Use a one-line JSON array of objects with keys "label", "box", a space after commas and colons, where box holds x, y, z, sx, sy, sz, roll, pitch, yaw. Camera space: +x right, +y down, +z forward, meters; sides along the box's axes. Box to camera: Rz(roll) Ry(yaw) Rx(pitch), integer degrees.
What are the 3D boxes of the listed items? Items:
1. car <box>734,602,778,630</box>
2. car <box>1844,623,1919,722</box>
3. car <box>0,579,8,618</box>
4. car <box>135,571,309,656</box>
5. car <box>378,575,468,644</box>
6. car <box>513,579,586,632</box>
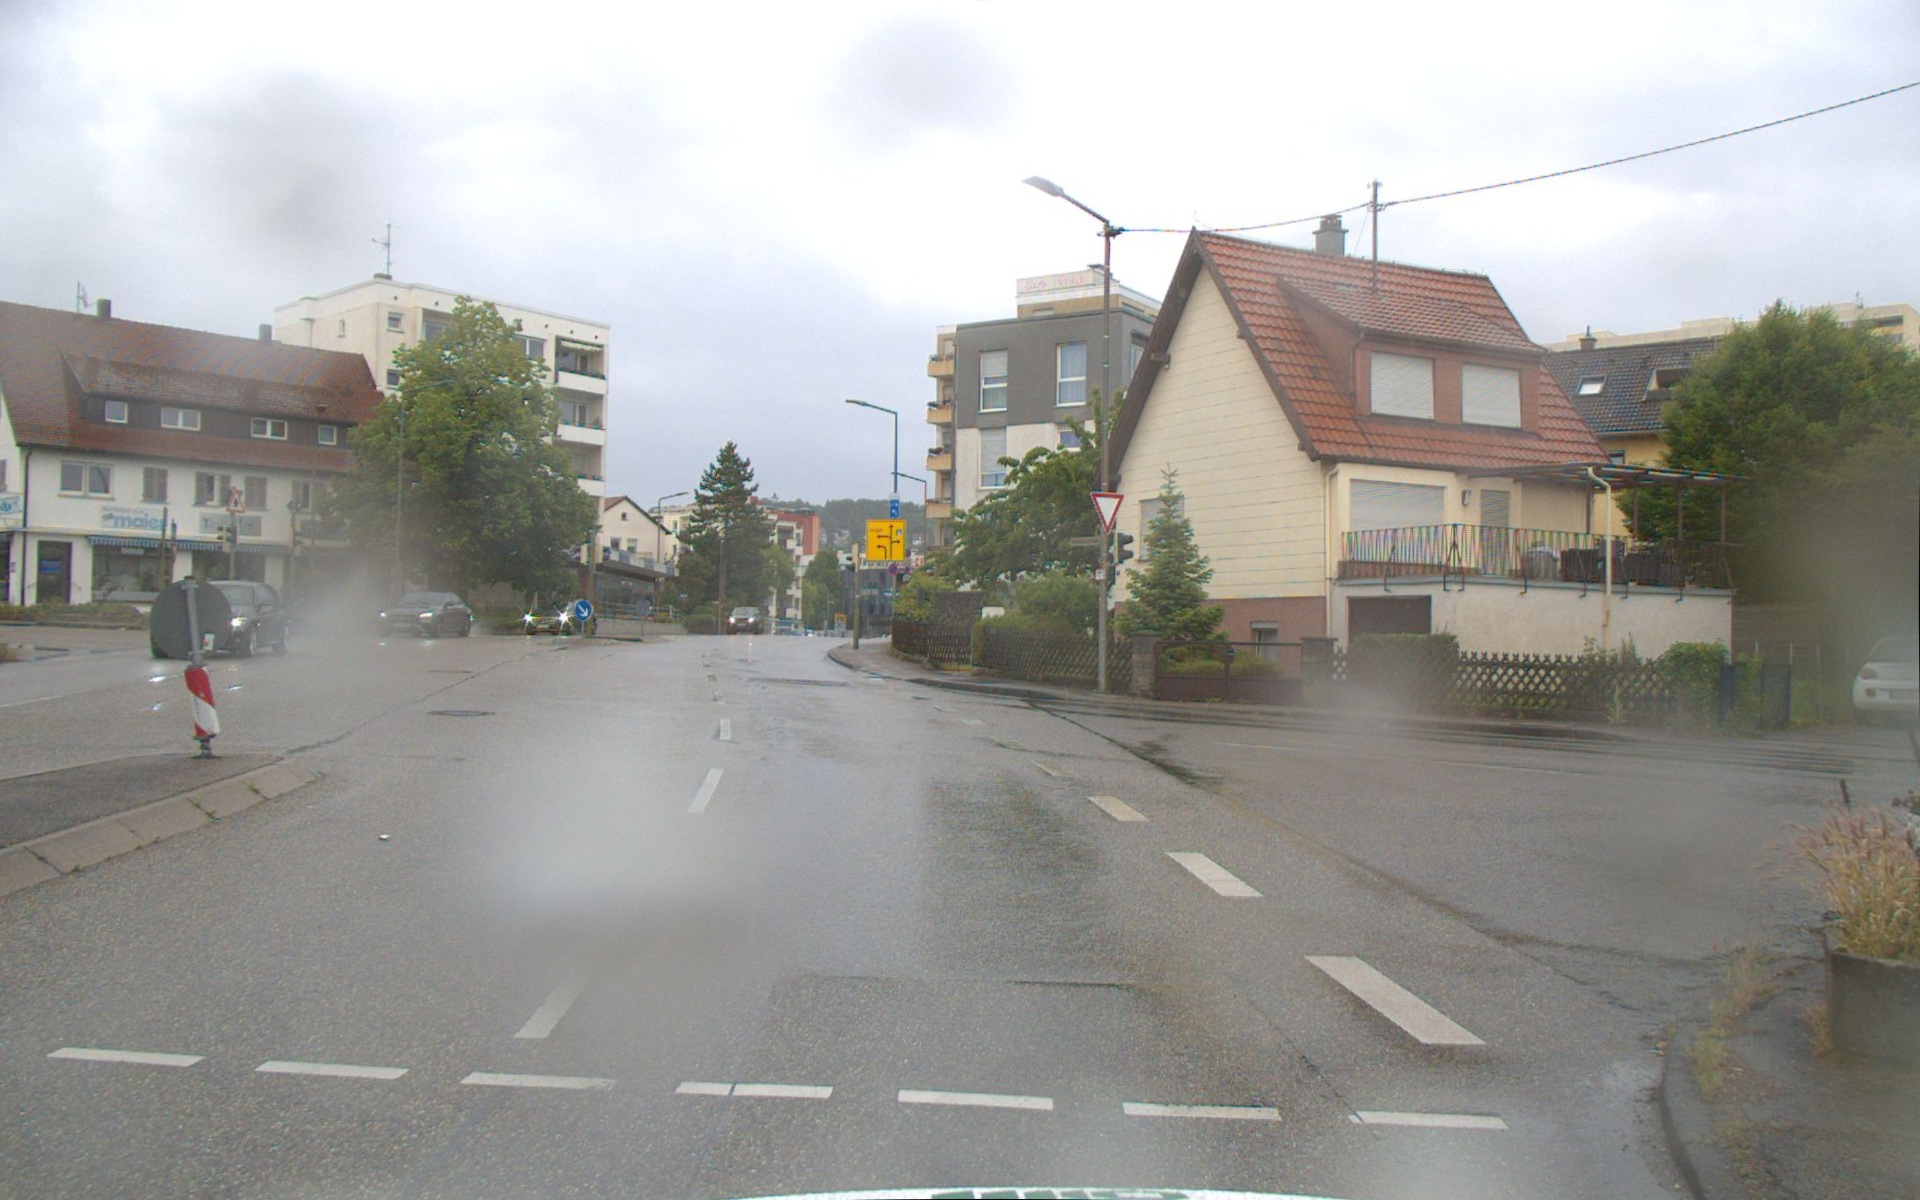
[{"label": "car", "box": [-12.015, 0.932, 97.703, 1.765, 1.584, 4.320, 1, 0, 4]}, {"label": "car", "box": [15.942, 1.169, 27.649, 1.812, 1.522, 3.732, 1, 0, 32]}, {"label": "car", "box": [-39.384, -0.112, 64.073, 3.969, 1.552, 1.968, 2, -1, -44]}, {"label": "car", "box": [-14.164, 0.243, 32.001, 1.753, 1.498, 4.159, 1, 0, -5]}, {"label": "car", "box": [-17.214, 0.274, 53.325, 2.053, 2.049, 5.962, -1, 0, -11]}, {"label": "car", "box": [-16.639, 0.214, 67.199, 1.954, 2.049, 4.649, 1, 0, -3]}]
